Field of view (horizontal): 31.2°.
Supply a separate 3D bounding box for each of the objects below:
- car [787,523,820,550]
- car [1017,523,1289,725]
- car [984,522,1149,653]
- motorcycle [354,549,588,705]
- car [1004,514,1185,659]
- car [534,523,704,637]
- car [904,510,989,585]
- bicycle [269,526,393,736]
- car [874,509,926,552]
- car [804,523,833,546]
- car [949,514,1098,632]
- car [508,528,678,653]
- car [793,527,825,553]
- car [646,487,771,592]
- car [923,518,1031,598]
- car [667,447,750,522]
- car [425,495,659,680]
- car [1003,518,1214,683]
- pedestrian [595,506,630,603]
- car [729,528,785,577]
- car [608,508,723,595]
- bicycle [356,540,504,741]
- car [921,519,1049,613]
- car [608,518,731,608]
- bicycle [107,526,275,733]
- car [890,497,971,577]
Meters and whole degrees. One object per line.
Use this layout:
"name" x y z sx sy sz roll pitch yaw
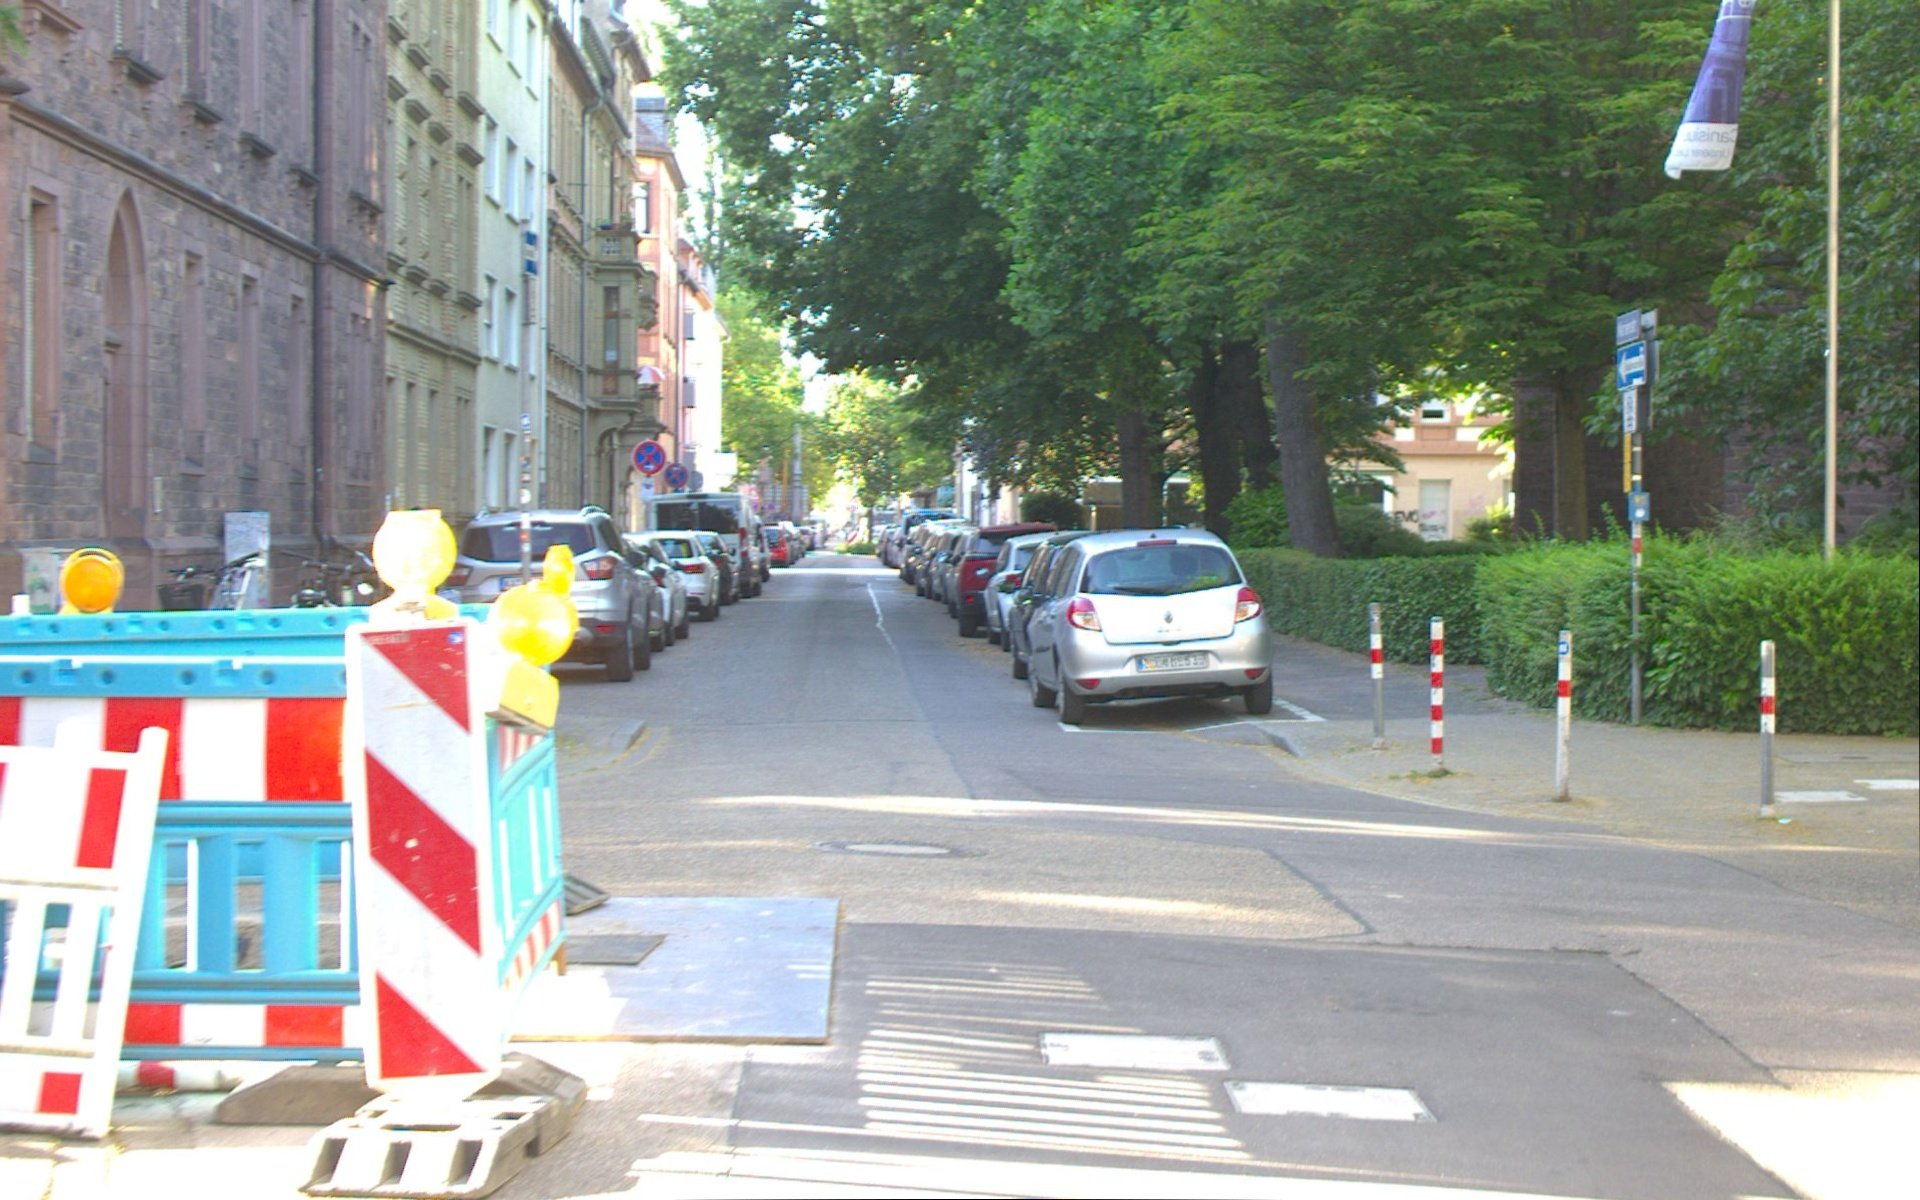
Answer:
"car" -9.610 -3.908 211.100 1.993 1.641 4.000 0 1 -2
"car" 1.516 0.137 28.342 1.723 1.517 4.001 0 2 -4
"car" 1.343 -0.200 44.706 1.841 1.590 4.001 1 1 -2
"motorcycle" -3.987 0.193 27.864 0.664 1.203 2.310 0 1 -43
"car" 1.491 -0.181 39.516 1.741 1.568 4.001 0 1 -3
"car" -4.443 -0.282 45.287 1.882 1.406 4.000 -1 1 -1
"car" -0.339 -1.253 80.873 1.829 1.698 4.001 1 1 -3
"bicycle" -4.512 0.182 24.544 0.572 1.418 2.503 0 1 -17
"car" -2.407 -2.793 137.505 1.993 1.722 4.001 0 2 -2
"car" -9.959 -4.598 241.642 1.993 1.641 4.000 0 1 -2
"car" 0.873 -0.402 49.526 1.894 1.619 4.001 0 1 -2
"car" -4.307 -0.147 40.775 1.725 1.388 4.001 0 1 -2
"car" -9.645 -3.830 219.823 1.993 1.641 4.000 0 1 -2
"car" -5.235 -1.271 72.265 2.309 2.107 5.170 0 1 -1
"car" 0.313 -0.855 69.690 1.993 1.568 4.001 0 1 -3
"car" -5.751 -2.676 78.889 1.792 1.568 4.001 0 4 -3
"car" -4.091 -0.152 34.215 1.882 1.701 4.000 -1 1 -1
"car" 1.402 -0.028 33.871 1.723 1.517 4.001 0 1 -3
"pedestrian" -7.197 -0.947 71.178 0.684 2.007 0.692 0 1 -9
"car" -7.221 -1.692 122.440 1.950 1.703 4.001 0 1 -3
"car" -5.492 -0.918 64.553 1.993 1.568 4.001 0 1 -3
"bicycle" -3.802 0.253 24.514 0.682 1.340 2.503 0 1 -17
"car" 0.393 -0.601 59.391 1.993 1.568 4.001 0 1 -3
"car" -4.610 -0.619 54.969 1.771 1.348 4.001 1 1 -2
"bicycle" -5.561 0.174 25.010 0.682 1.418 2.798 0 1 -2
"car" -0.891 -1.821 99.838 2.160 2.248 4.526 0 1 -3
